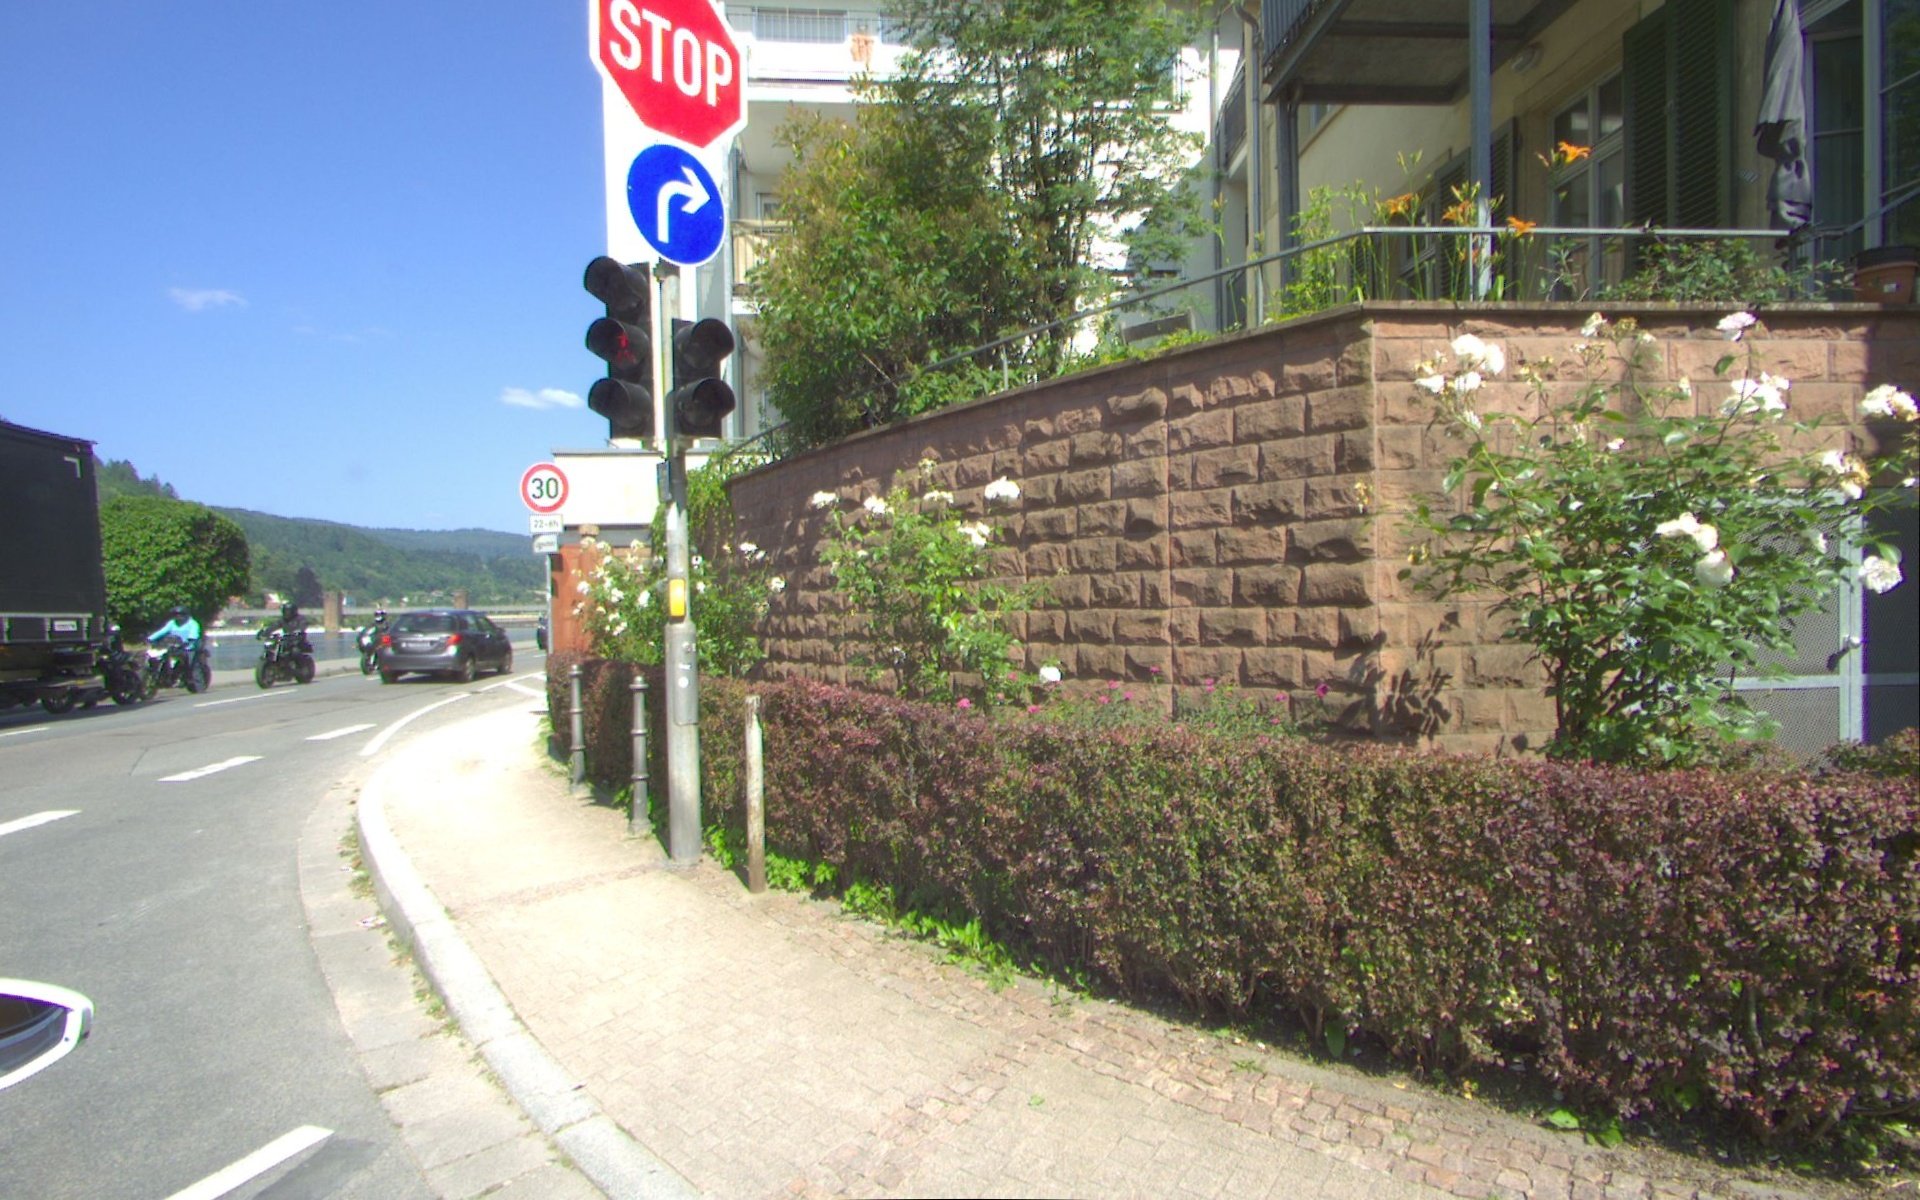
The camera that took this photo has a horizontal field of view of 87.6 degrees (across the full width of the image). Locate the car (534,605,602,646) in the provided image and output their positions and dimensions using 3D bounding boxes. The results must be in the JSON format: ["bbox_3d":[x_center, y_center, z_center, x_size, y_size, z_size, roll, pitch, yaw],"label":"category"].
[{"bbox_3d":[-16.999,1.090,43.629,1.739,1.691,3.773,0,0,-5],"label":"car"}]

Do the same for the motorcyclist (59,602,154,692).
[{"bbox_3d":[-14.640,0.788,17.214,0.766,1.479,0.991,-3,0,-8],"label":"motorcyclist"}]

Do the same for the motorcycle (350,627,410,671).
[{"bbox_3d":[-14.730,1.226,25.470,0.646,1.038,1.814,-1,0,-8],"label":"motorcycle"}]

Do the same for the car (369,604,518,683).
[{"bbox_3d":[-11.012,0.870,21.658,1.695,1.518,3.878,-1,0,-9],"label":"car"}]

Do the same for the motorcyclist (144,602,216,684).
[{"bbox_3d":[-15.241,0.822,19.601,0.653,1.545,0.991,-3,0,-9],"label":"motorcyclist"}]

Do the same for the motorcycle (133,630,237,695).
[{"bbox_3d":[-15.253,1.203,19.775,0.623,1.138,2.092,-3,0,-8],"label":"motorcycle"}]

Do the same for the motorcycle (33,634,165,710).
[{"bbox_3d":[-14.609,1.183,17.077,0.623,1.138,2.092,-3,0,-8],"label":"motorcycle"}]

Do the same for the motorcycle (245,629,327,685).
[{"bbox_3d":[-13.880,1.151,20.674,0.646,1.038,1.814,-1,0,-8],"label":"motorcycle"}]

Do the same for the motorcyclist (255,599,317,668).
[{"bbox_3d":[-13.927,0.687,20.712,0.774,1.384,0.800,-1,0,-8],"label":"motorcyclist"}]

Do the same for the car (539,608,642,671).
[{"bbox_3d":[-8.943,0.914,24.509,1.661,1.417,3.737,0,-1,-9],"label":"car"}]

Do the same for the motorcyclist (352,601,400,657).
[{"bbox_3d":[-14.761,0.730,25.332,0.706,1.384,0.936,-1,0,-8],"label":"motorcyclist"}]

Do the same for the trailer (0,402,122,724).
[{"bbox_3d":[-13.115,-0.463,7.902,2.788,4.158,13.765,-3,0,-7],"label":"trailer"}]
